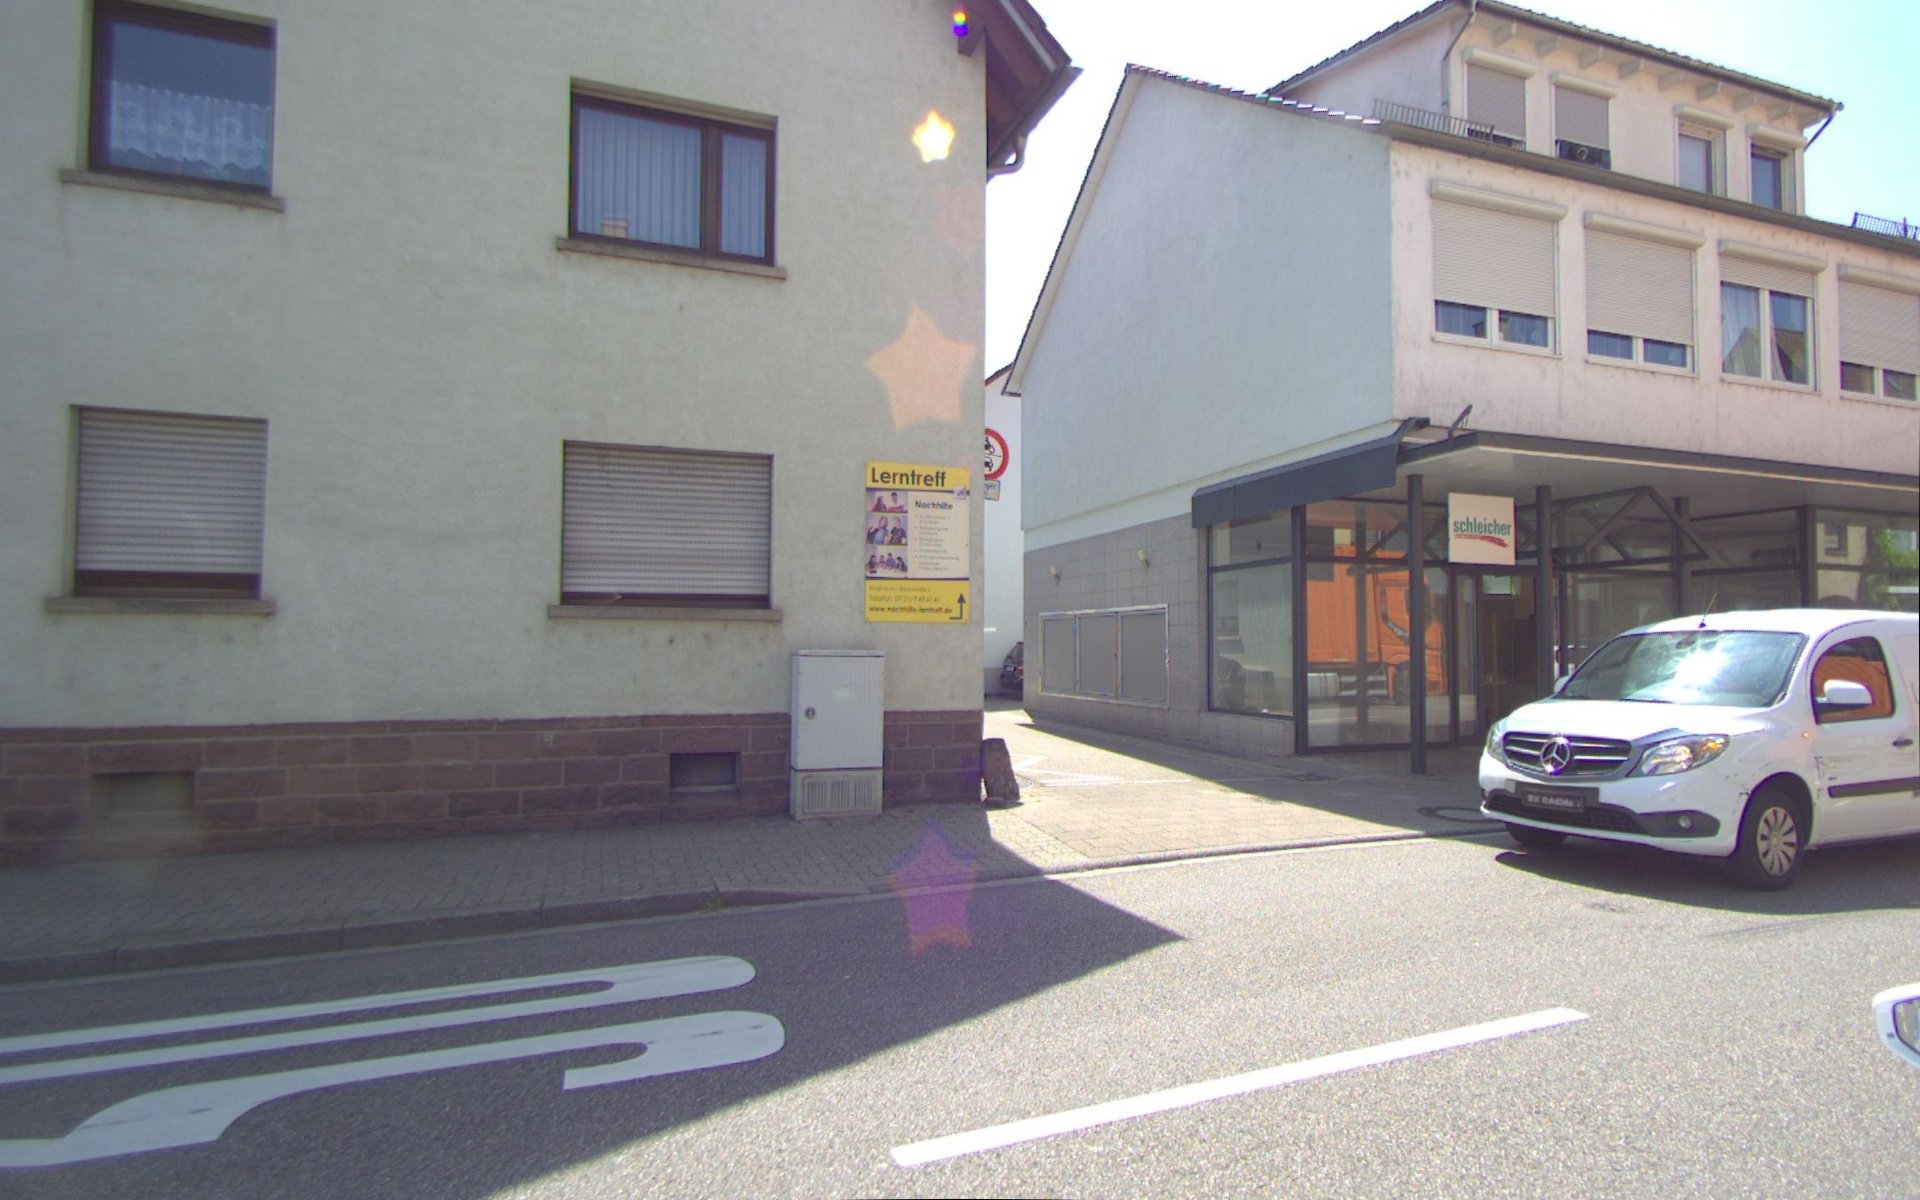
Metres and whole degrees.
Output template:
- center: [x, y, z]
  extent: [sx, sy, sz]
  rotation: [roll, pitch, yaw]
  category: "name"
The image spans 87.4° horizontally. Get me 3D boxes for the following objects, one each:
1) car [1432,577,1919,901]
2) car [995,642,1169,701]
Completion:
- center: [5.923, 0.906, 7.499]
  extent: [4.535, 1.853, 1.779]
  rotation: [2, -4, -23]
  category: "car"
- center: [3.049, 1.763, 25.103]
  extent: [4.065, 1.370, 1.651]
  rotation: [1, -3, -21]
  category: "car"
